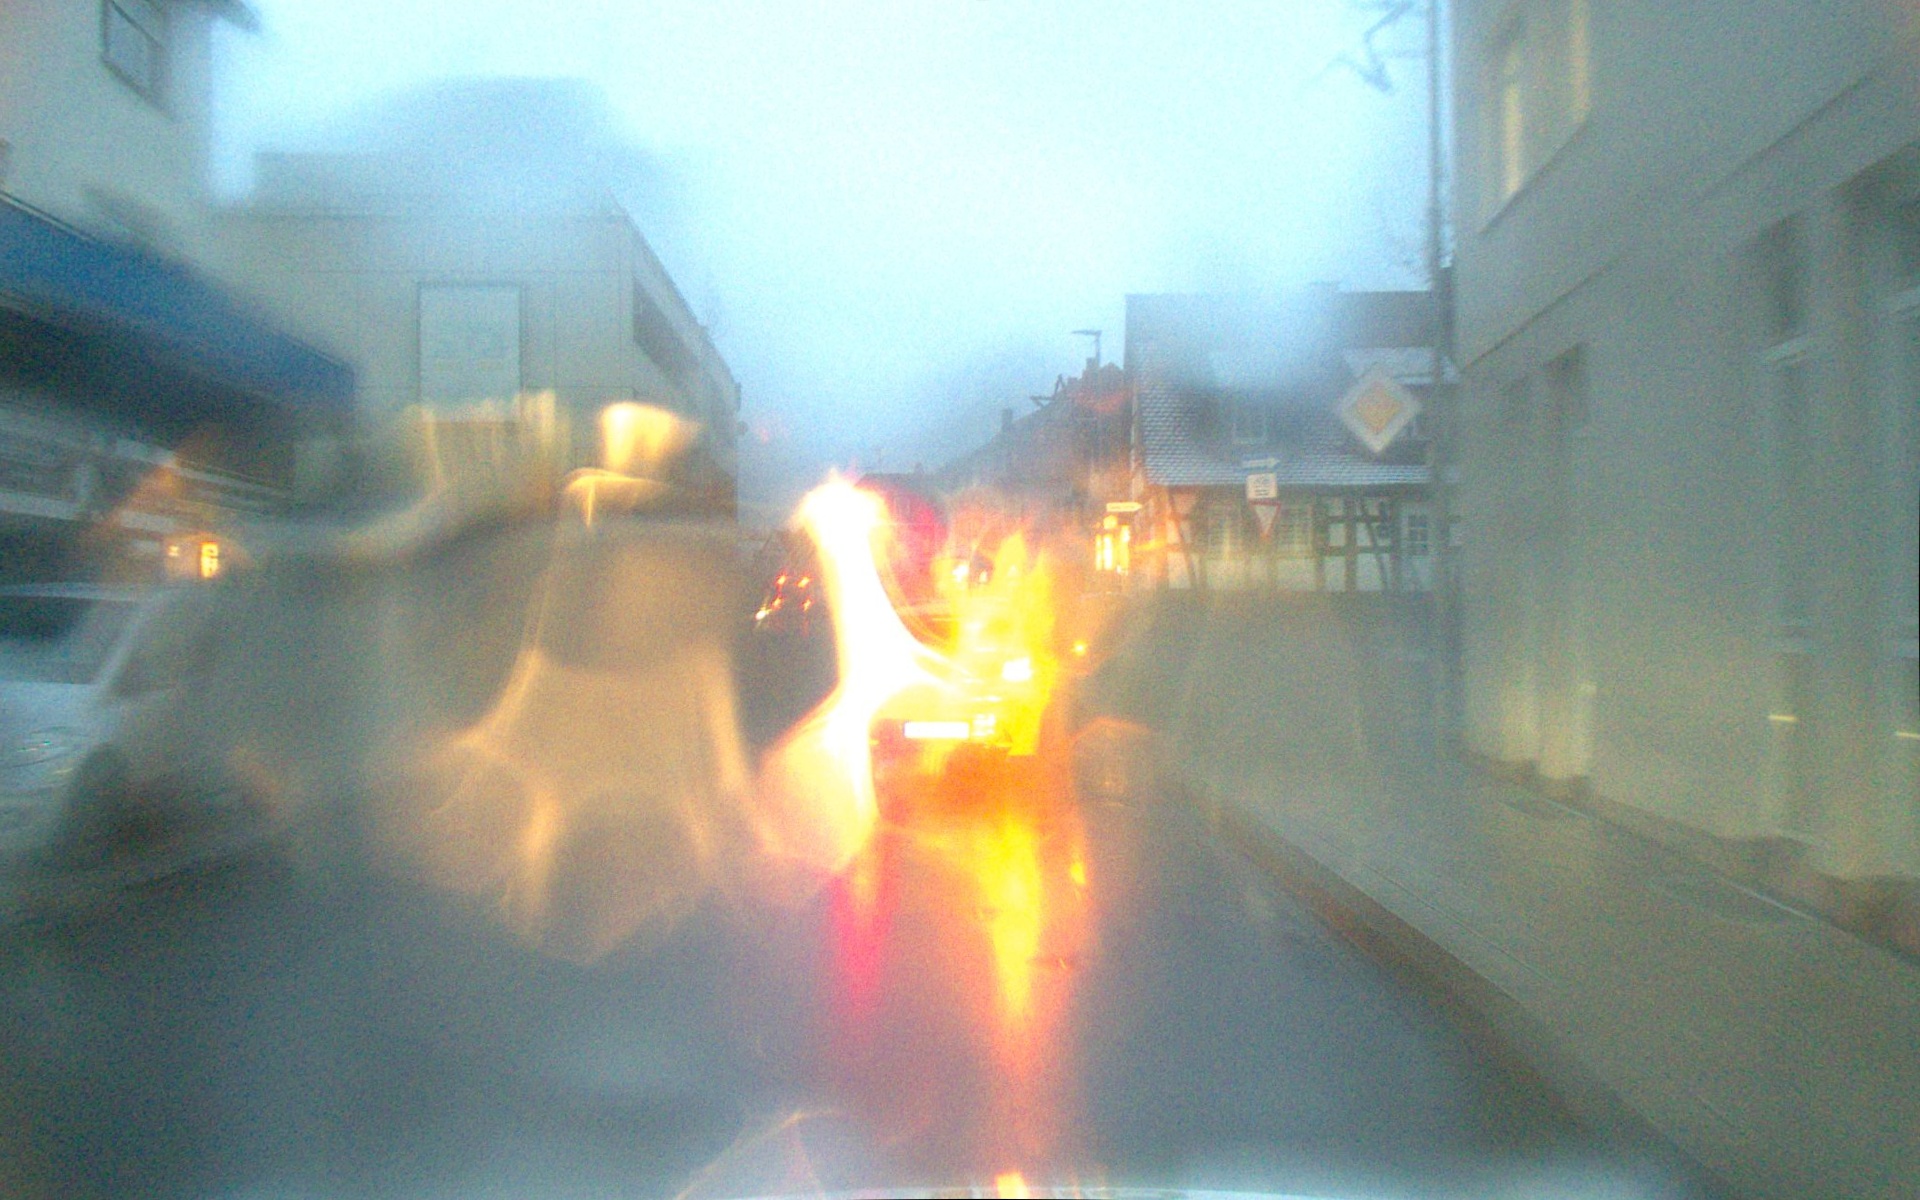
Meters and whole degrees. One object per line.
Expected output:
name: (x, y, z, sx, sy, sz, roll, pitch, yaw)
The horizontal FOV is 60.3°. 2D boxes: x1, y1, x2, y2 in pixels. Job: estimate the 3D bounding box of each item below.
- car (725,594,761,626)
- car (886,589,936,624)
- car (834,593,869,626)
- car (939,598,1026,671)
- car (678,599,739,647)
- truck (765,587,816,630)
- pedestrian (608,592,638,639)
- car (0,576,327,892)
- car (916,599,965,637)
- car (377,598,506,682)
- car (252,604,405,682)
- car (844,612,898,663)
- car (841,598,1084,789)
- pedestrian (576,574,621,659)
car: (-12.006, 0.525, 91.312, 1.762, 1.671, 3.802, 1, 0, -11)
car: (-2.365, 0.300, 78.396, 1.847, 1.574, 4.662, -2, 0, -8)
car: (-5.078, 0.451, 77.710, 1.605, 1.507, 3.269, 1, 0, -3)
car: (0.465, 0.755, 37.730, 1.698, 1.484, 3.998, -3, 0, -3)
car: (-8.451, 0.755, 55.869, 1.582, 1.559, 3.926, 1, 0, -2)
truck: (-13.158, 0.639, 127.699, 2.963, 3.183, 7.973, 1, 0, -13)
pedestrian: (-9.769, 0.457, 47.916, 0.740, 1.333, 0.827, 1, -1, -5)
car: (-5.617, 0.687, 10.607, 1.686, 1.642, 3.814, 2, 0, -2)
car: (-0.847, 0.738, 69.433, 1.759, 1.486, 4.527, -3, 0, -4)
car: (-11.032, 0.799, 35.483, 1.729, 1.526, 4.445, -1, 2, -6)
car: (-13.677, 0.891, 36.104, 1.663, 1.424, 4.450, -1, 2, -1)
car: (-2.771, 1.153, 51.706, 1.605, 1.507, 3.377, 1, -1, -3)
car: (0.152, 0.726, 14.779, 1.733, 1.473, 3.730, 0, 0, 7)
pedestrian: (-8.593, 0.383, 39.254, 0.957, 1.972, 1.197, -1, 0, -16)
